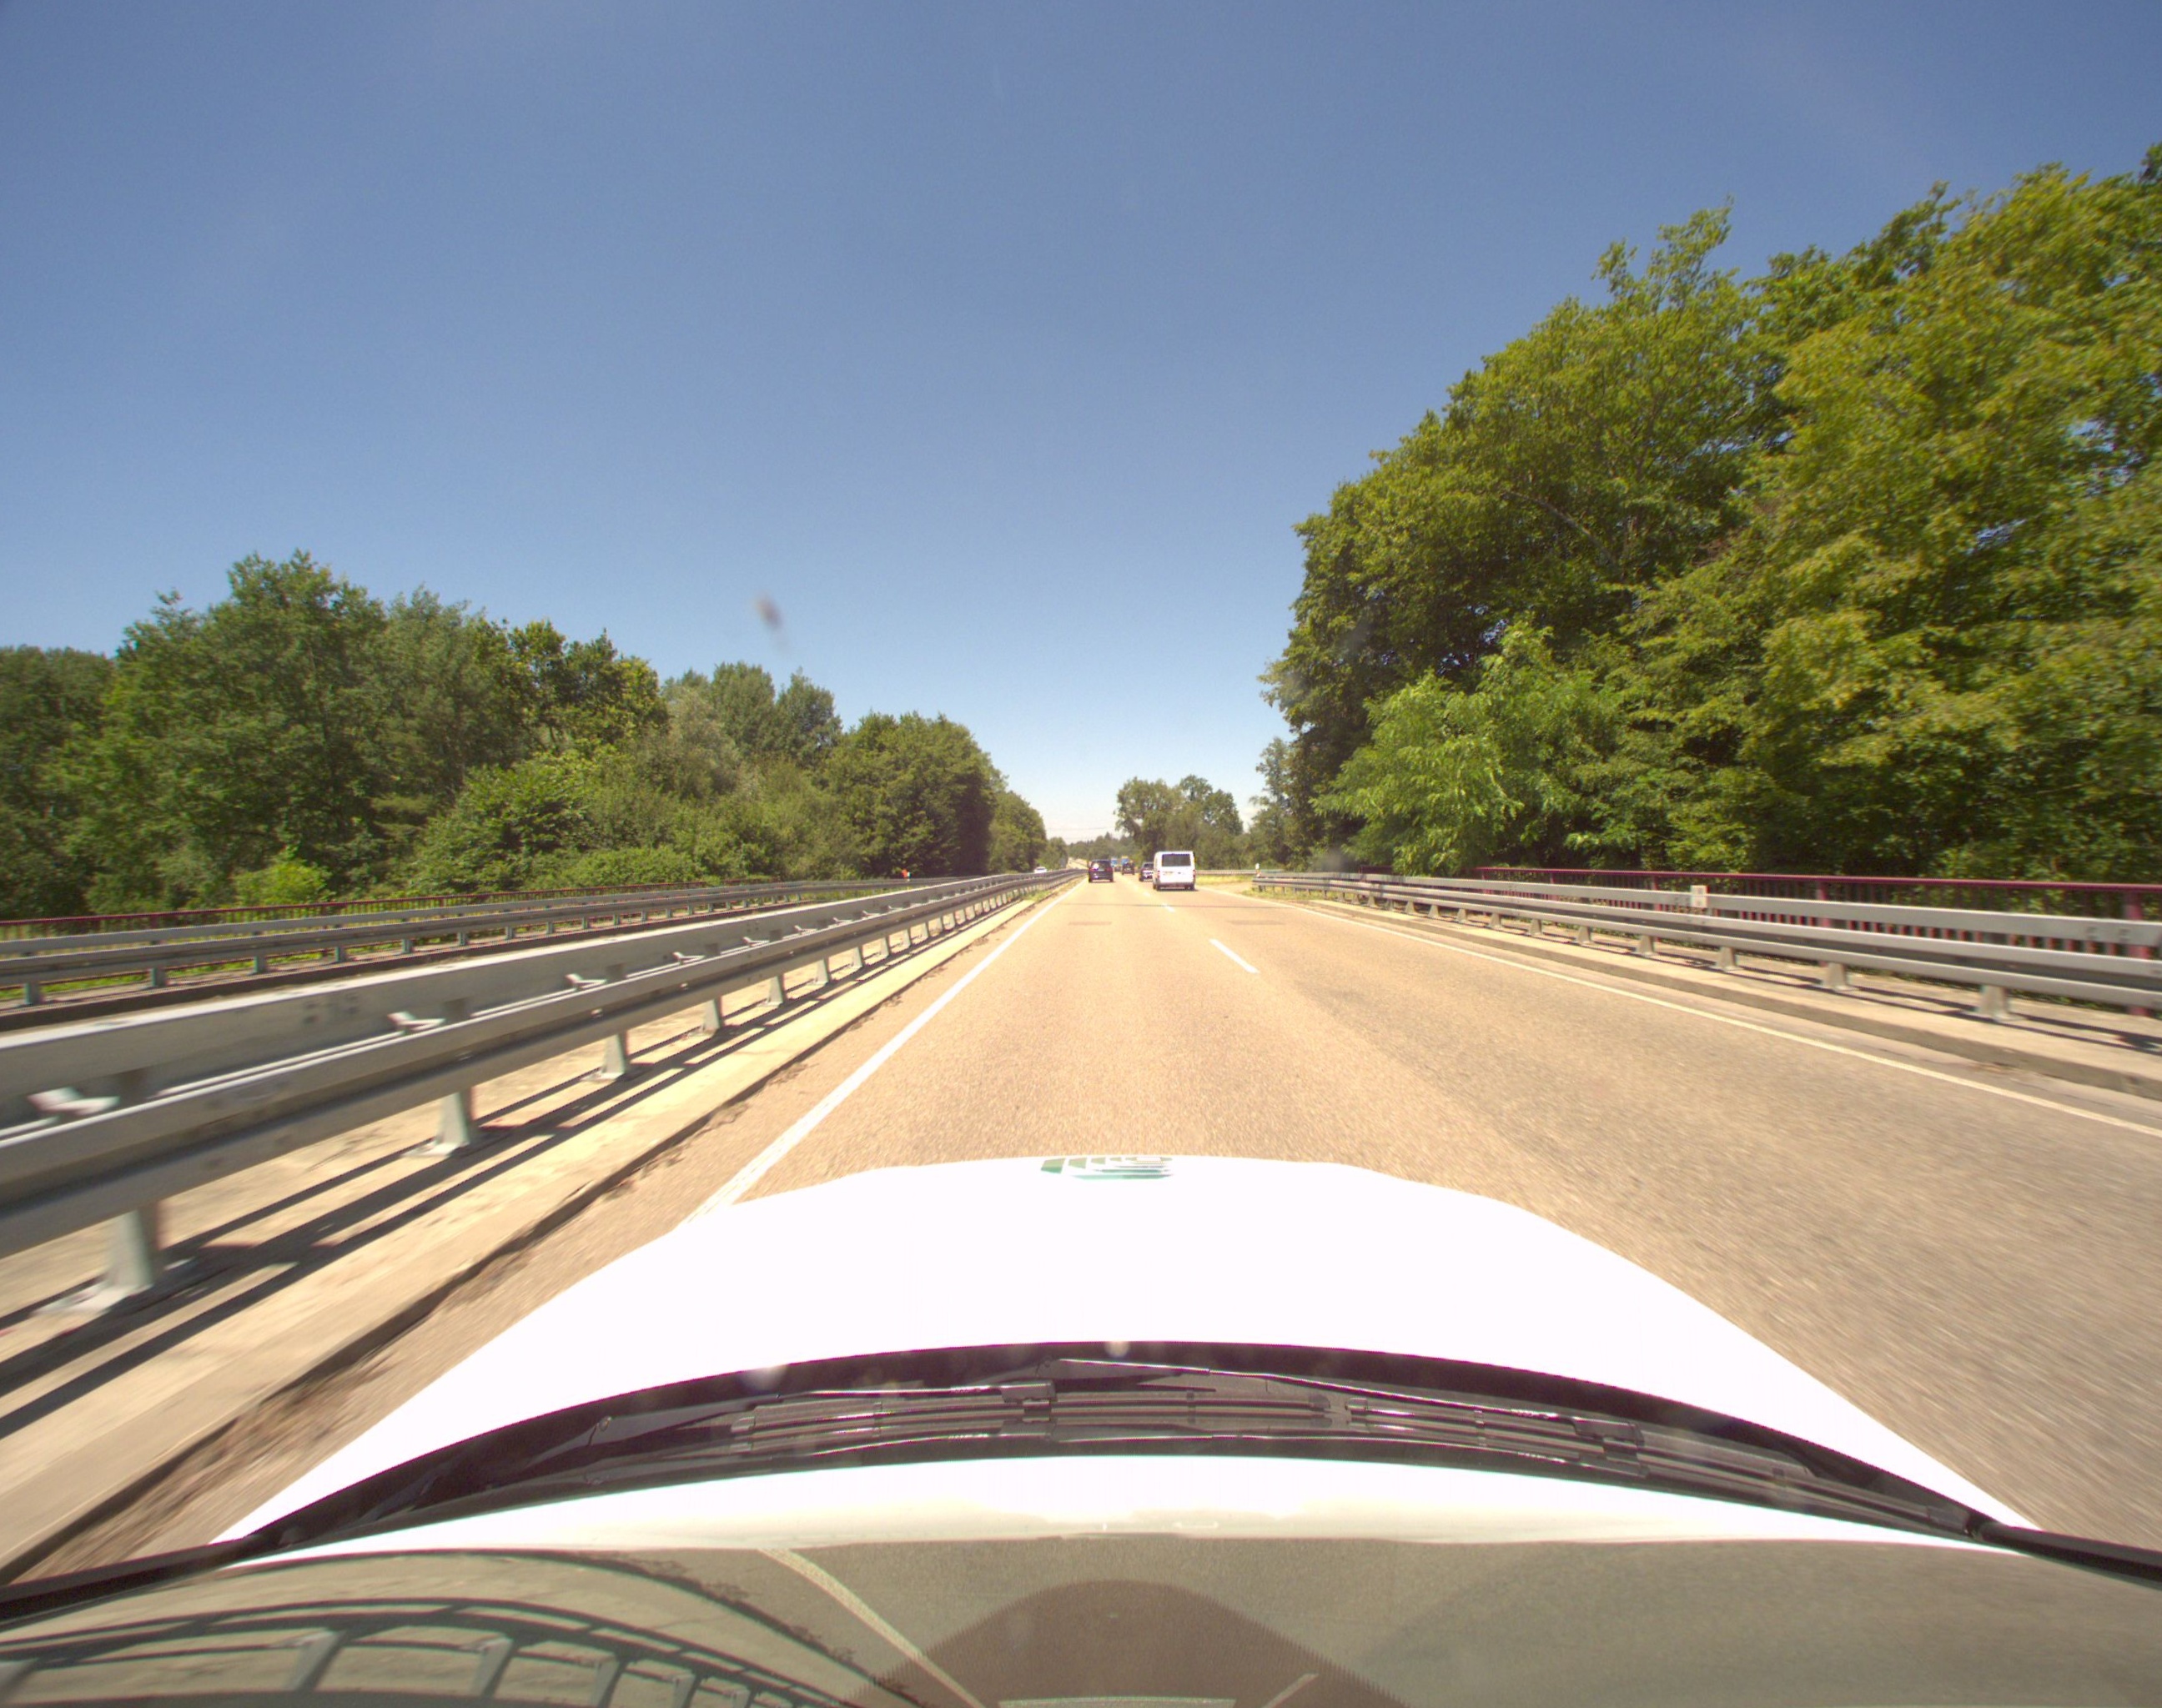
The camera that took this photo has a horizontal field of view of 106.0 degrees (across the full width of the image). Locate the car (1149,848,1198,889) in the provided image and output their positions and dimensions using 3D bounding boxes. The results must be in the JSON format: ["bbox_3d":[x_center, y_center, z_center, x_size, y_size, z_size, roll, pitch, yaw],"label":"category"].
[{"bbox_3d":[4.767,0.783,42.725,1.999,1.989,5.033,-1,-1,0],"label":"car"}]

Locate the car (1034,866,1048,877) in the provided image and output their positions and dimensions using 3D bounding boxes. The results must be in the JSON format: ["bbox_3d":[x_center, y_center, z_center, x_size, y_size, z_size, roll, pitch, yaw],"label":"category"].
[{"bbox_3d":[-6.274,2.707,129.380,1.812,1.599,4.841,-4,-1,1],"label":"car"}]

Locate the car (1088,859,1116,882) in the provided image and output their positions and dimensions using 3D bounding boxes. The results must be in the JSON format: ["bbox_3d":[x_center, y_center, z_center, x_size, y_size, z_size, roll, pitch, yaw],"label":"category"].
[{"bbox_3d":[1.602,1.228,63.101,1.987,1.654,3.999,-2,0,0],"label":"car"}]

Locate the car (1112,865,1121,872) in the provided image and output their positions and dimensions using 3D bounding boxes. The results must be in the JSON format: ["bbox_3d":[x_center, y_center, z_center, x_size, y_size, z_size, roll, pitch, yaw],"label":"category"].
[{"bbox_3d":[7.890,3.188,181.363,1.813,1.414,4.000,-3,0,1],"label":"car"}]

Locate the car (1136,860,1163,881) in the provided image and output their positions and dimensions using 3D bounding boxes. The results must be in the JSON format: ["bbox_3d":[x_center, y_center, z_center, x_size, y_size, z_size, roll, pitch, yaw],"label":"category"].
[{"bbox_3d":[5.352,1.248,63.880,1.779,1.553,4.019,-2,0,0],"label":"car"}]

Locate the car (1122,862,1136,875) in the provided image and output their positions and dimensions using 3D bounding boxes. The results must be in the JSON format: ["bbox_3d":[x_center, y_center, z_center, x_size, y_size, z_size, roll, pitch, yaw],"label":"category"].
[{"bbox_3d":[6.805,2.084,116.769,1.773,1.817,4.214,-3,0,1],"label":"car"}]
